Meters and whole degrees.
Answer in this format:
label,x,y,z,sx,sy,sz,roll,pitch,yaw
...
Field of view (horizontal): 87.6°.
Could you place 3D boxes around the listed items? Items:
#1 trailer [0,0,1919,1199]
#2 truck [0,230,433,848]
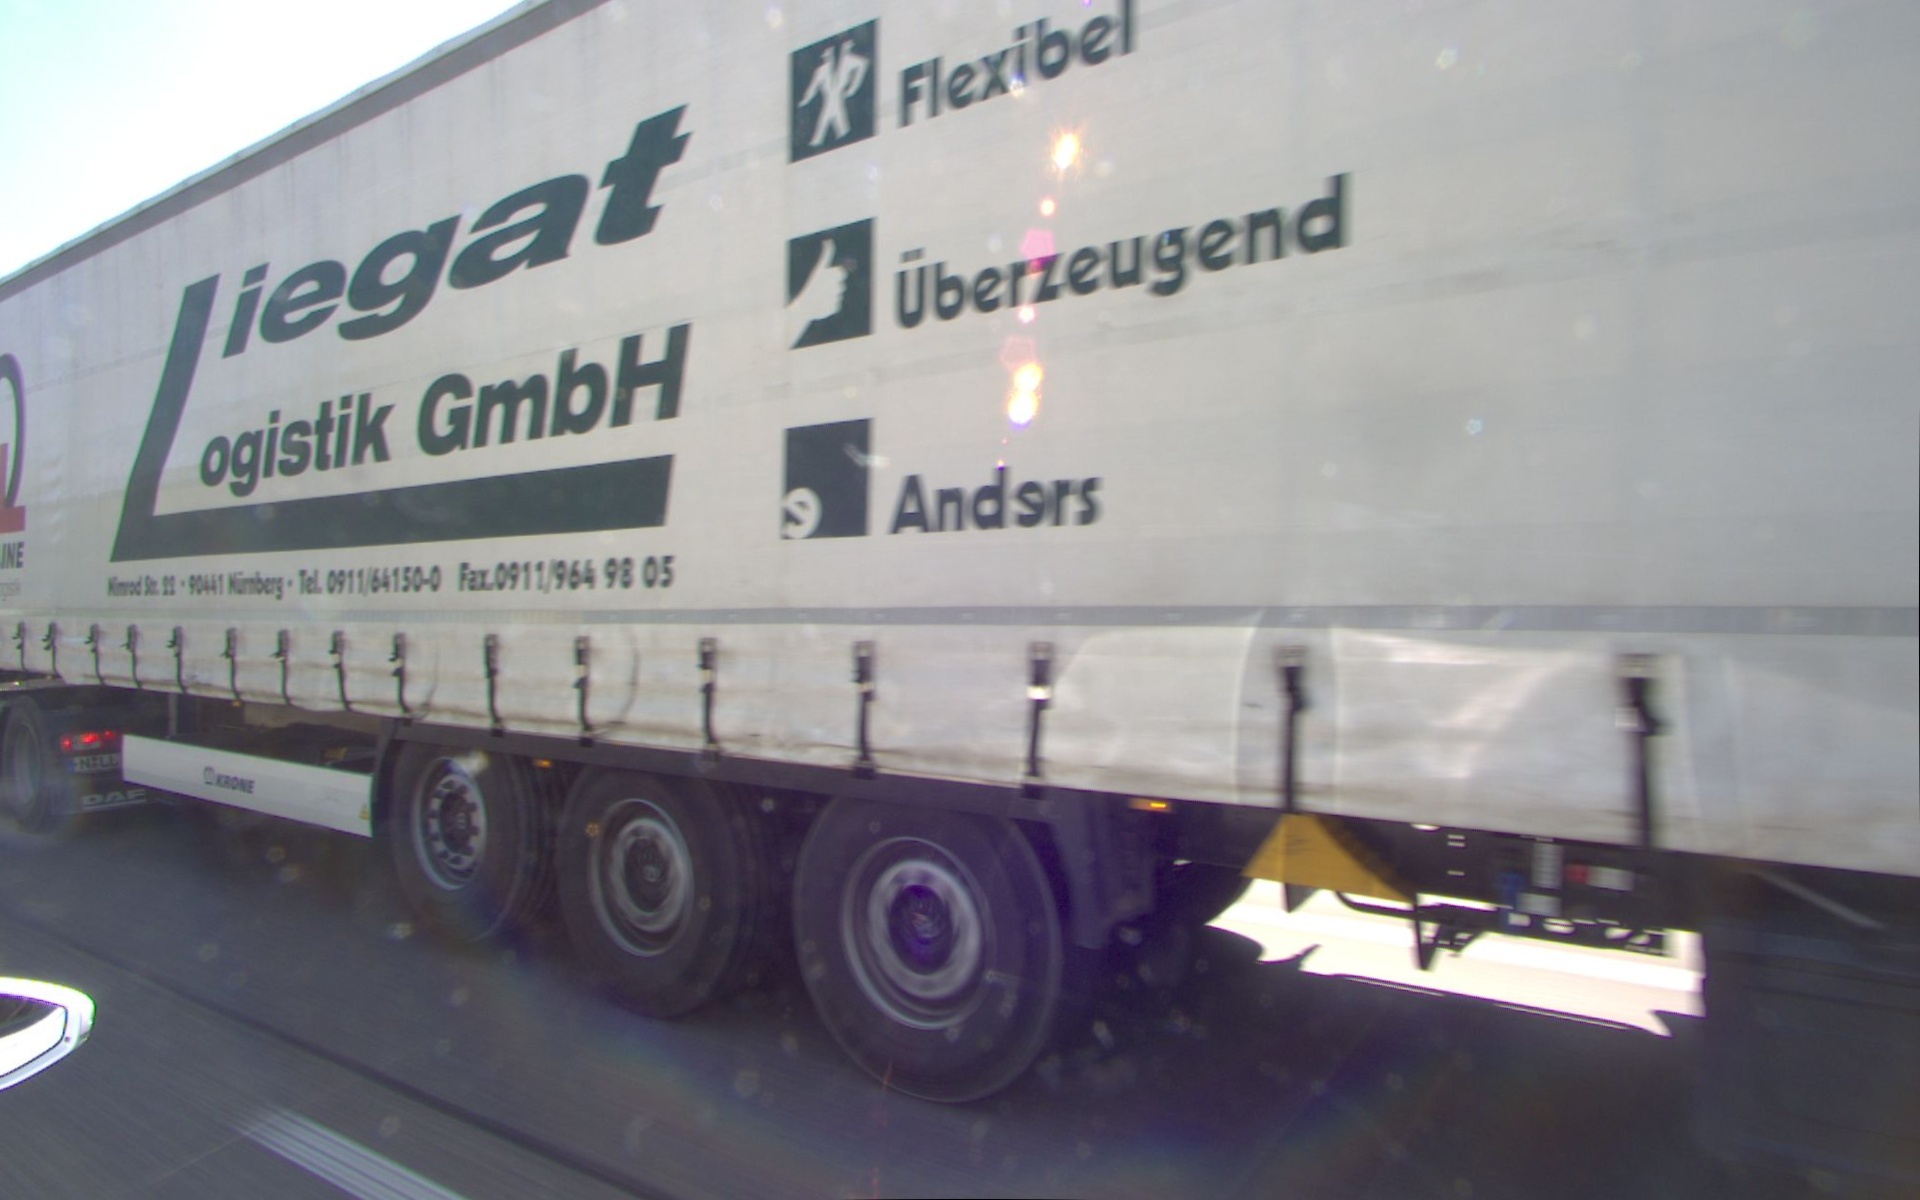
label,x,y,z,sx,sy,sz,roll,pitch,yaw
trailer,-2.452,-0.406,6.050,13.053,4.259,2.781,0,-1,33
truck,-8.084,-0.384,9.670,5.786,4.259,2.781,0,-1,33
